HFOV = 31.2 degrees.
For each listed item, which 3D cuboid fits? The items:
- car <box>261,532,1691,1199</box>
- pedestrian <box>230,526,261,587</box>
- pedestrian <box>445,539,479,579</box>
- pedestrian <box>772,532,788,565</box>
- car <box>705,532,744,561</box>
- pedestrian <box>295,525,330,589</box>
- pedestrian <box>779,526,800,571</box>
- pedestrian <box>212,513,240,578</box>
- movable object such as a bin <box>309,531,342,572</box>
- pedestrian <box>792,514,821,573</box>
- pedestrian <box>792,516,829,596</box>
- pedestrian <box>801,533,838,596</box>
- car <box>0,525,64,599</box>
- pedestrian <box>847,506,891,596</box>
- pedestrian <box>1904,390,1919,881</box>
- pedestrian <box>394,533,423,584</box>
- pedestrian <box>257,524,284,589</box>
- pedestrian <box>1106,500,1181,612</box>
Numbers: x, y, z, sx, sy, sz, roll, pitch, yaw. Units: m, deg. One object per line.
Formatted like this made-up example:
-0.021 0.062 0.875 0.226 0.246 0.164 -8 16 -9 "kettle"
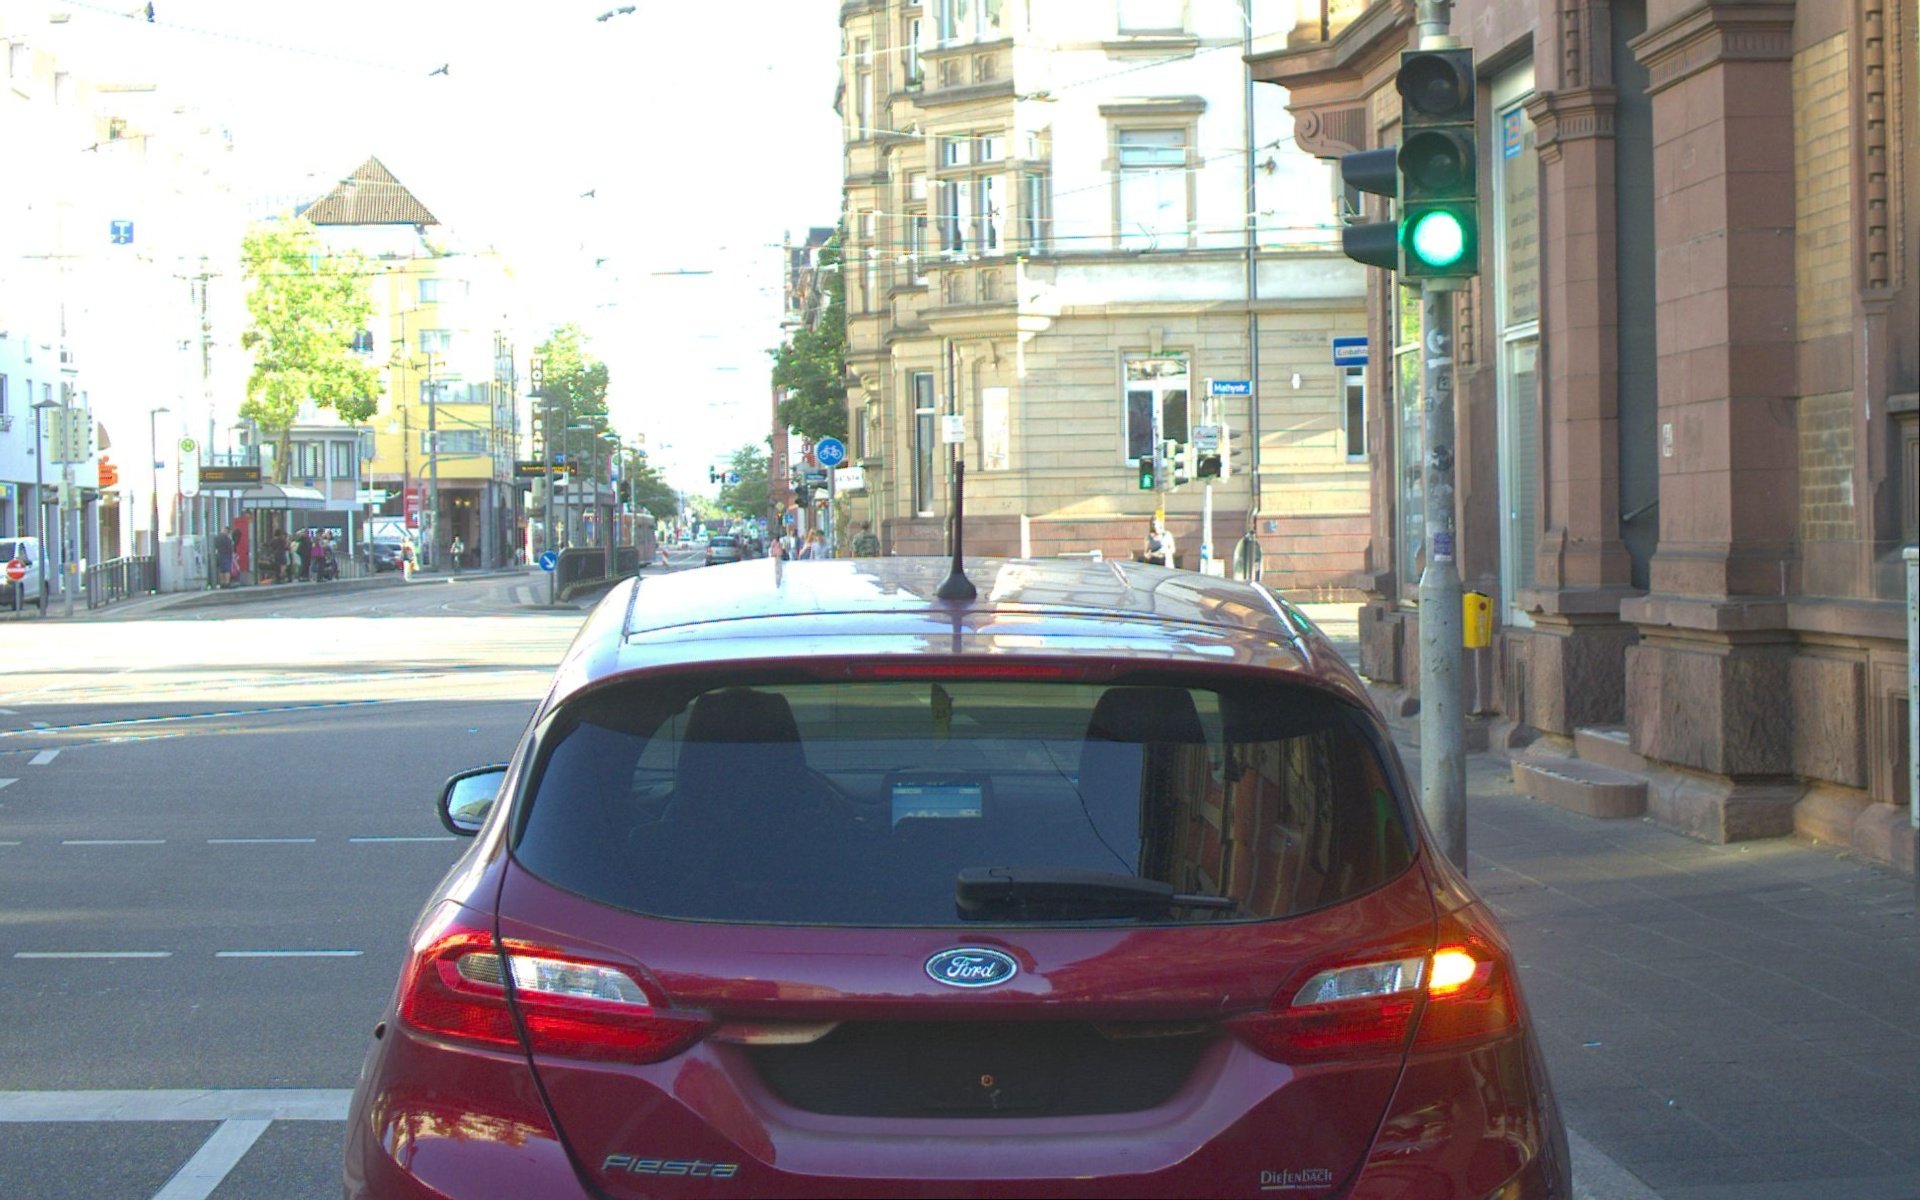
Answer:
-0.026 0.646 5.890 1.692 1.490 3.580 1 1 -1 "car"
-20.075 -1.217 96.594 0.695 1.685 0.672 -1 1 -27 "pedestrian"
-23.907 -1.962 165.011 1.343 1.898 1.474 -1 1 -19 "pedestrian"
-9.068 -2.586 172.880 0.751 1.655 0.650 1 0 -1 "pedestrian"
-12.120 -2.754 176.813 1.993 1.444 4.001 0 1 -4 "car"
-19.306 -1.279 102.584 0.931 1.898 0.881 -1 1 -6 "pedestrian"
-6.954 -2.107 140.264 0.713 1.768 0.773 -4 2 -7 "pedestrian"
-19.299 -1.433 90.404 0.598 1.686 0.613 -1 1 -3 "pedestrian"
-20.137 -1.541 109.170 0.937 1.282 0.935 -1 1 -6 "movable object such as a bin"
-4.755 -1.742 106.540 0.713 1.768 0.773 -4 2 -7 "pedestrian"
-3.286 -0.961 75.429 0.717 1.715 0.797 -2 0 -5 "pedestrian"
-3.047 -0.760 74.412 0.717 1.327 0.797 -2 0 -5 "pedestrian"
-24.535 -0.990 88.210 1.993 1.831 5.347 -1 1 -4 "car"
-1.887 -1.021 71.475 0.800 1.817 0.798 -3 2 -4 "pedestrian"
2.694 0.354 7.869 0.775 1.717 0.754 -2 1 -3 "pedestrian"
-20.813 -1.569 129.765 0.878 1.898 0.935 -1 1 -19 "pedestrian"
-20.202 -1.273 100.680 0.695 1.898 0.672 -1 1 -6 "pedestrian"
2.998 -0.723 56.305 1.023 1.800 1.083 -1 1 -7 "pedestrian"
